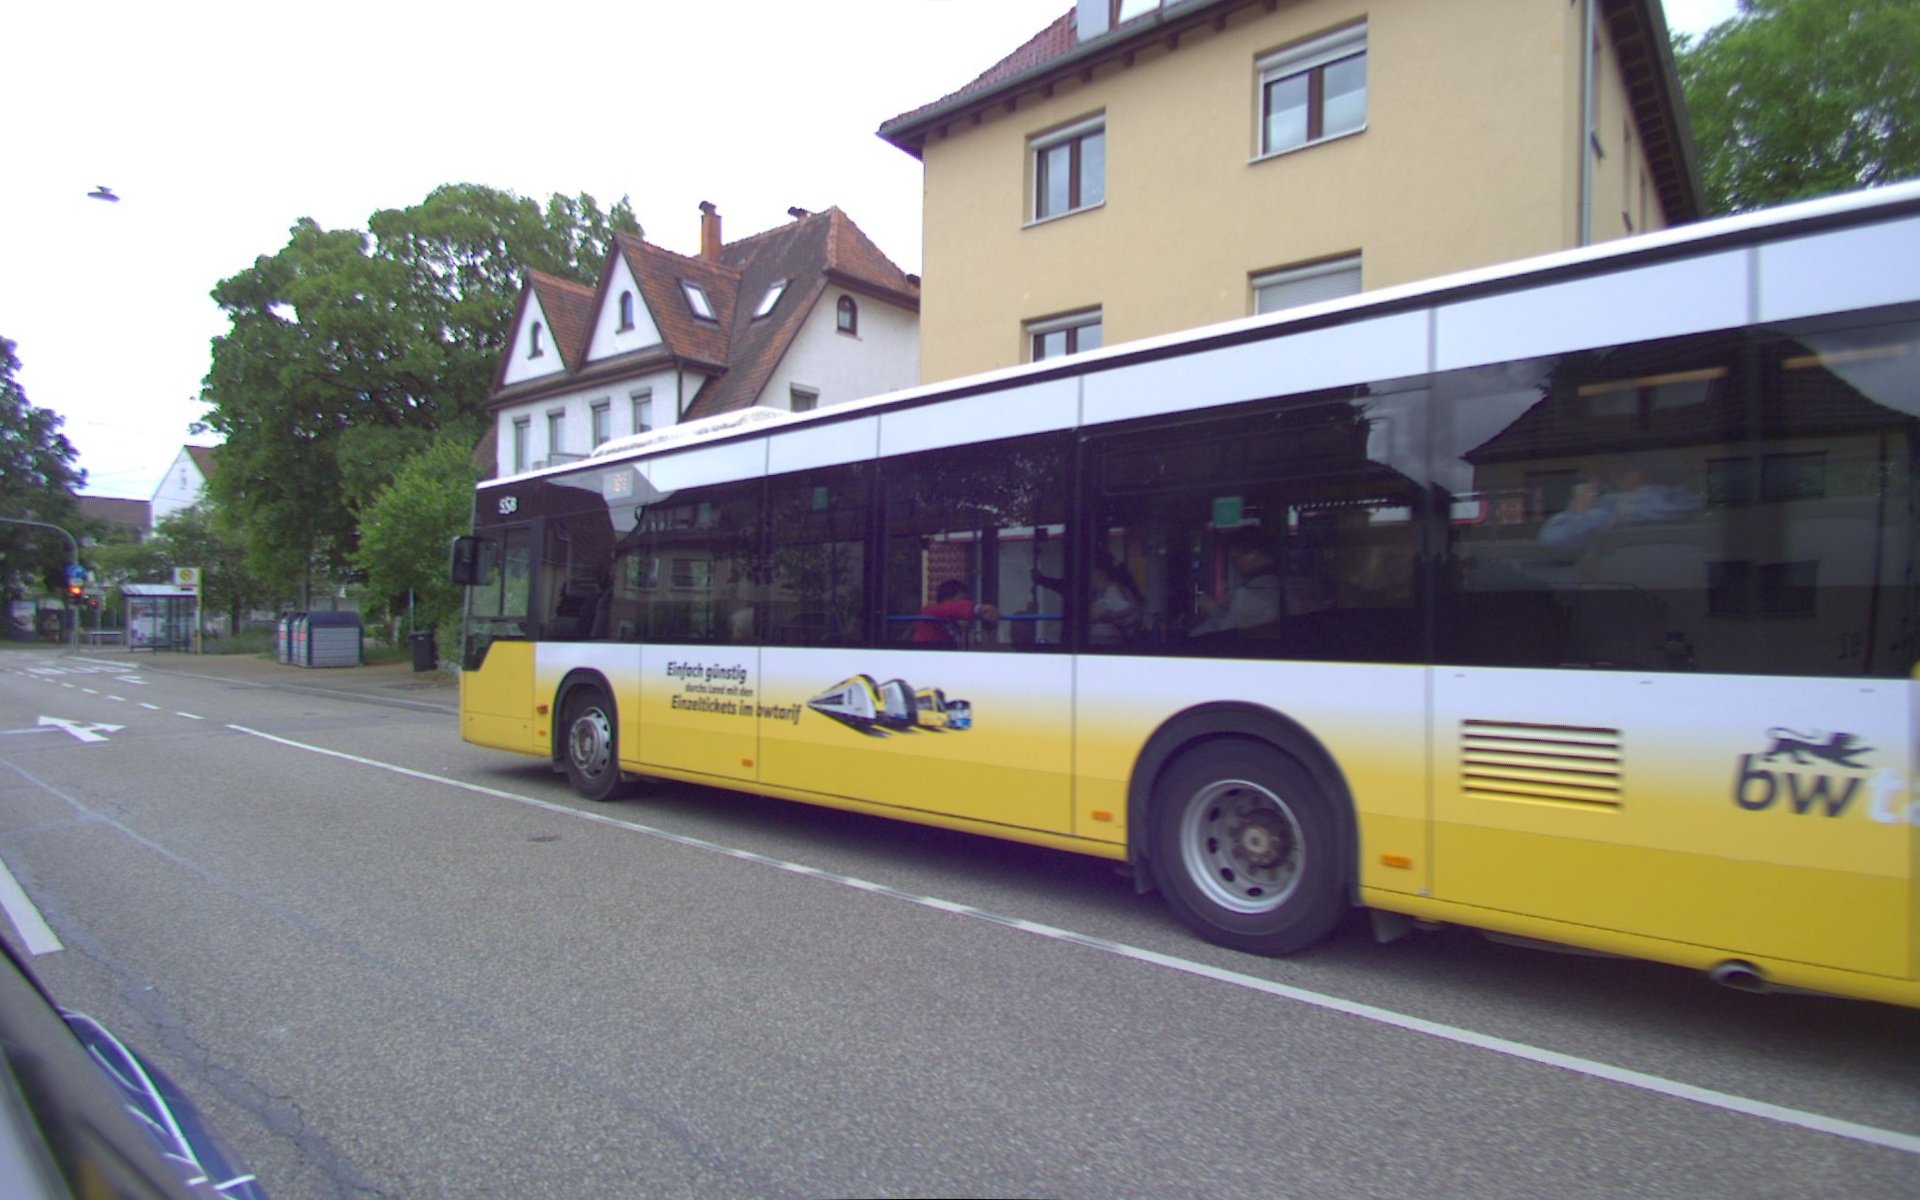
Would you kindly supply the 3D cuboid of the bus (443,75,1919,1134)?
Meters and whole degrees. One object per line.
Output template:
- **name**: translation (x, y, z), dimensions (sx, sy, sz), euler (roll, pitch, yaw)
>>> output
- **bus**: translation (0.346, 0.110, 6.896), dimensions (12.064, 3.109, 2.604), euler (-1, -3, 41)

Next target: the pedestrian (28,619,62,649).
- **pedestrian**: translation (-54.299, 2.017, 60.068), dimensions (1.212, 1.767, 0.824), euler (0, 1, -1)

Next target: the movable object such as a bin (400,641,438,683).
- **movable object such as a bin**: translation (-14.167, 1.622, 26.520), dimensions (0.708, 1.027, 0.724), euler (-3, 0, -18)
